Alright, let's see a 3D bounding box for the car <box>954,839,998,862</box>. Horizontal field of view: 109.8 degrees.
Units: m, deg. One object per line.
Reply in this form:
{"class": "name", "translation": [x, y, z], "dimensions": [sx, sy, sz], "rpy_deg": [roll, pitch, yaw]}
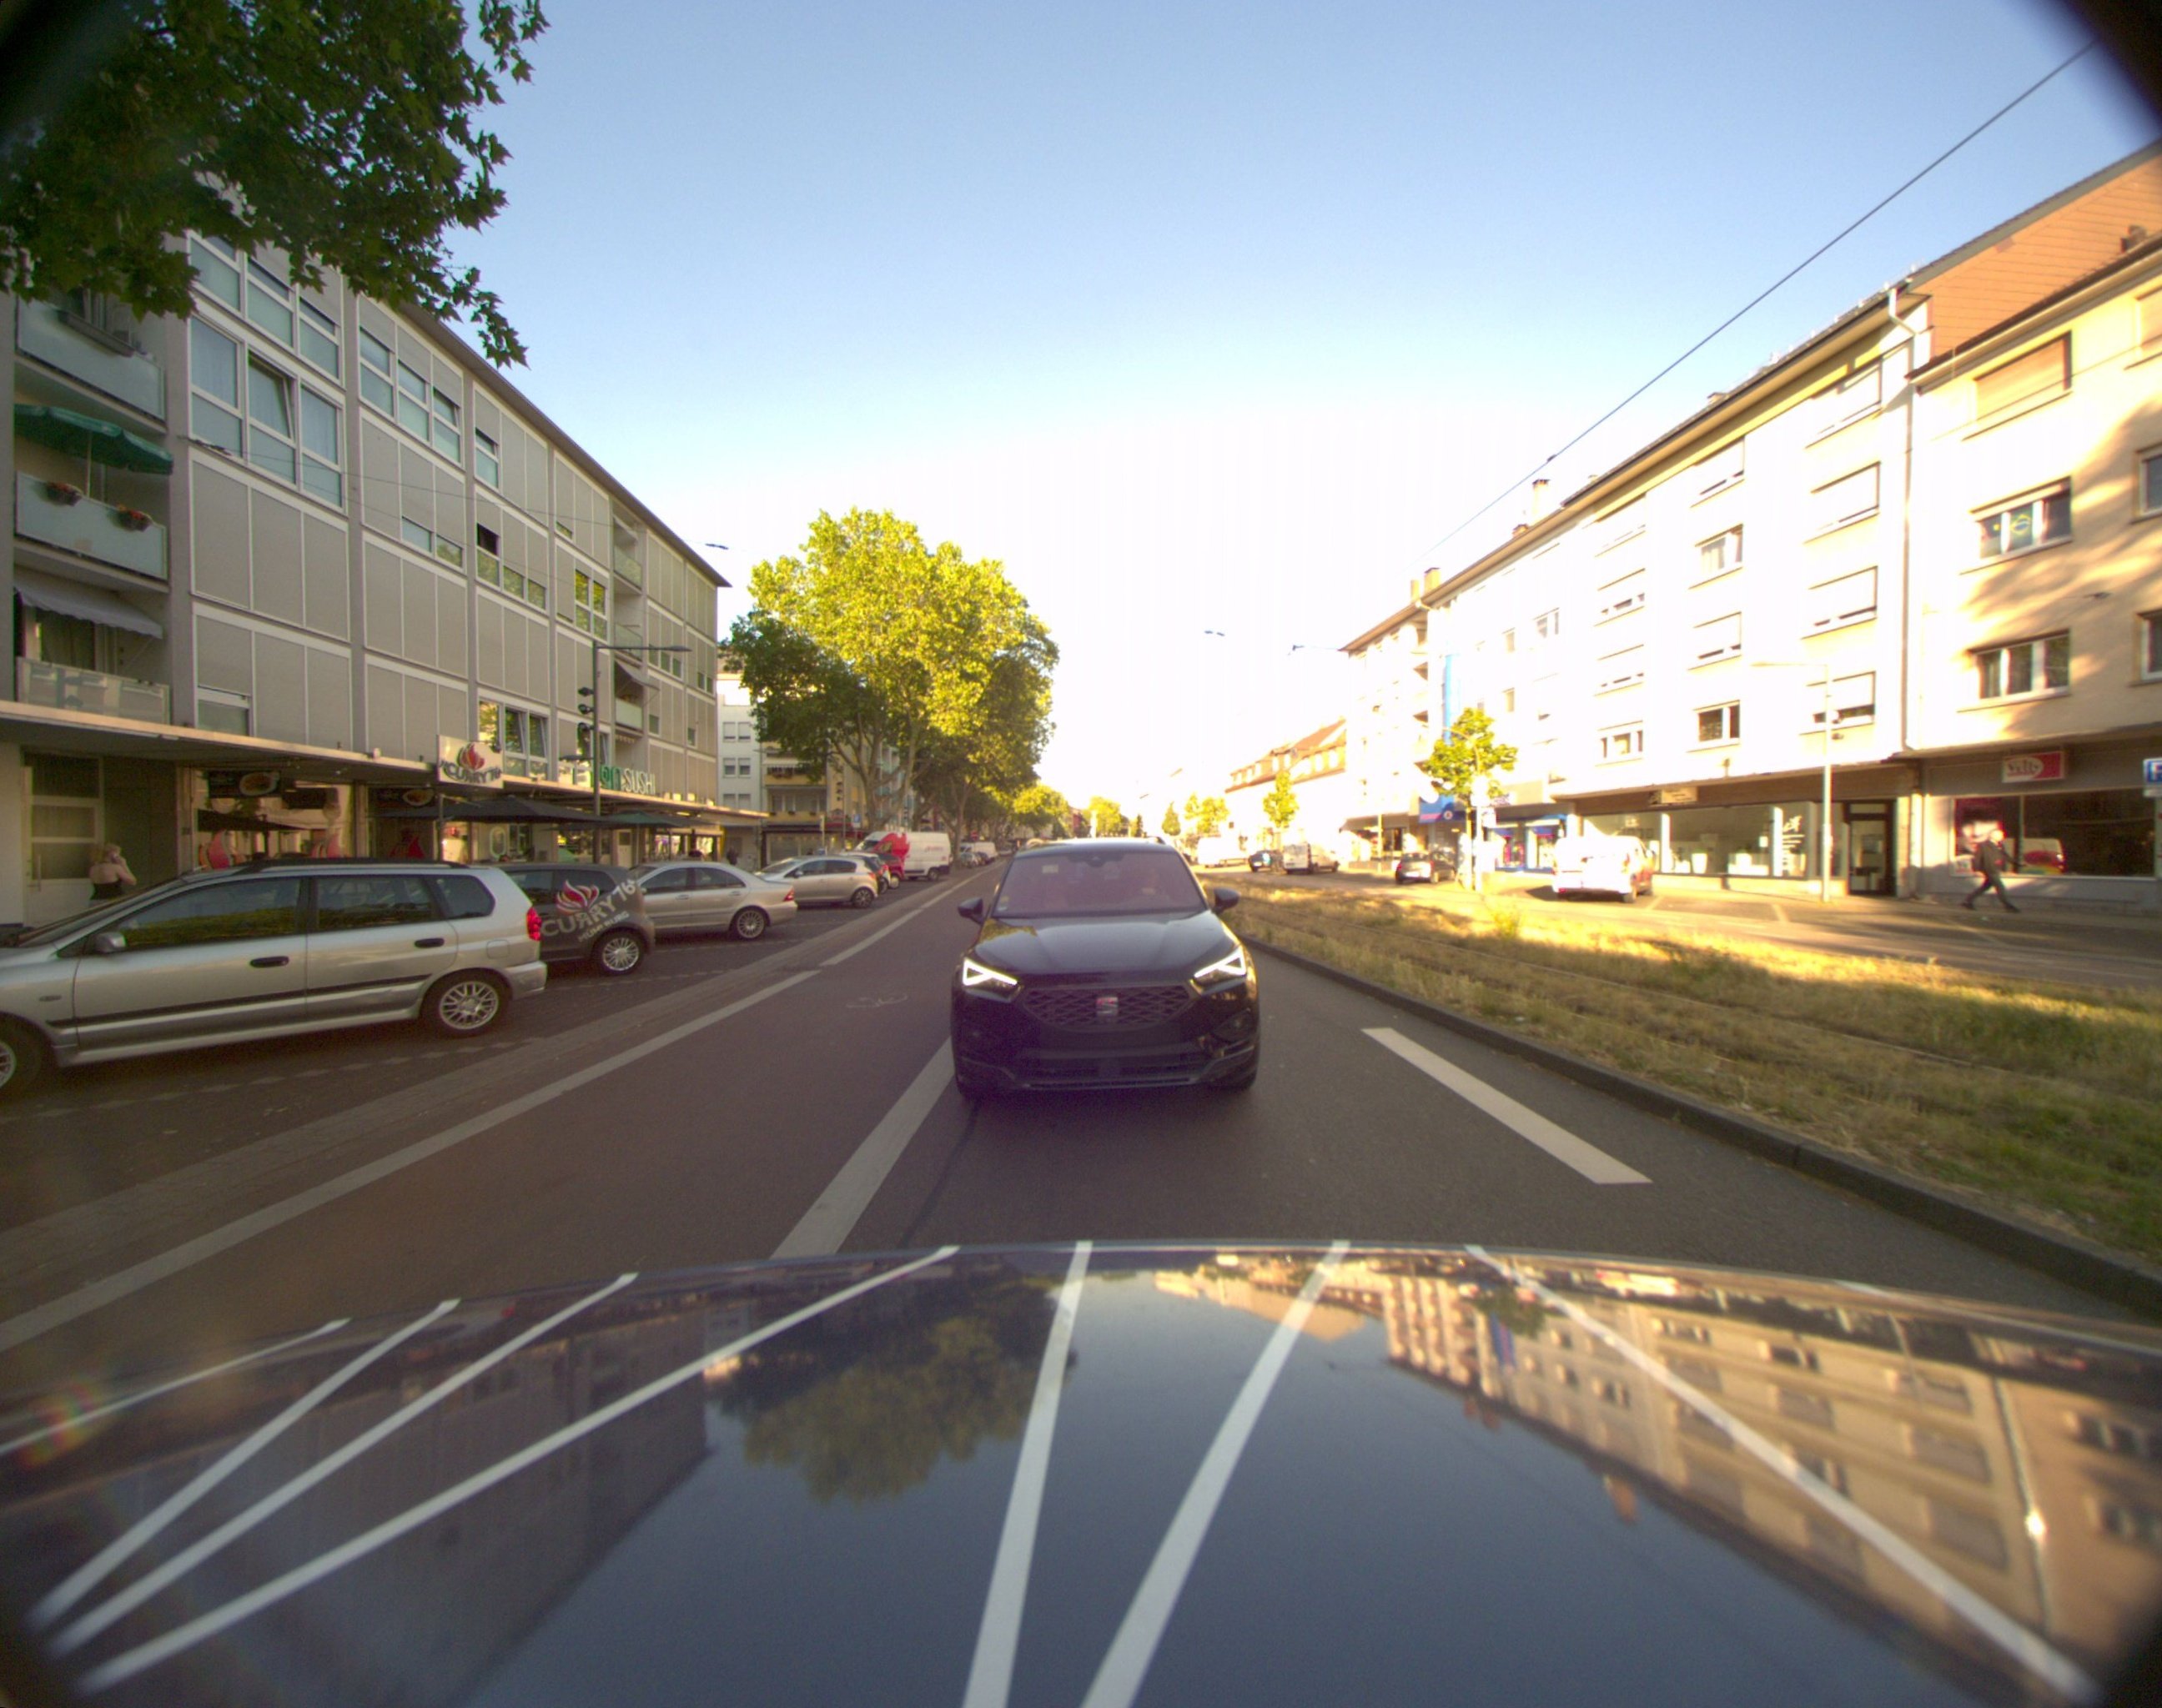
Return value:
{"class": "car", "translation": [-11.679, -0.421, 85.047], "dimensions": [1.973, 2.454, 4.605], "rpy_deg": [1, 1, 44]}

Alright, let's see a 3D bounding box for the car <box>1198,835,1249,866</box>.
{"class": "car", "translation": [12.949, -0.365, 68.661], "dimensions": [1.922, 2.599, 6.601], "rpy_deg": [-1, 1, 34]}

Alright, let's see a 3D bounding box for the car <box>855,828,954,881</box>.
{"class": "car", "translation": [-8.730, 0.033, 37.849], "dimensions": [4.606, 2.479, 1.672], "rpy_deg": [0, 0, -44]}

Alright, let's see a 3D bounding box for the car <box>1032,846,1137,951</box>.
{"class": "car", "translation": [0.037, 0.705, 14.394], "dimensions": [1.646, 1.646, 3.999], "rpy_deg": [-2, 1, -1]}

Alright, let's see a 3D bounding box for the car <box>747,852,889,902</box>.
{"class": "car", "translation": [-8.310, 0.722, 24.138], "dimensions": [3.949, 1.420, 1.672], "rpy_deg": [1, 1, -34]}

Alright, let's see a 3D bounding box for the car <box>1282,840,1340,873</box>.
{"class": "car", "translation": [14.541, 0.109, 47.850], "dimensions": [1.853, 1.927, 4.513], "rpy_deg": [-1, 1, 40]}

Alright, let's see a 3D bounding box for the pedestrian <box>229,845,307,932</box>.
{"class": "pedestrian", "translation": [-15.125, 0.617, 14.157], "dimensions": [0.583, 1.573, 0.771], "rpy_deg": [0, 1, 2]}

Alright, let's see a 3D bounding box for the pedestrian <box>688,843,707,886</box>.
{"class": "pedestrian", "translation": [-15.648, 0.421, 31.032], "dimensions": [0.545, 1.710, 0.457], "rpy_deg": [0, 1, -4]}

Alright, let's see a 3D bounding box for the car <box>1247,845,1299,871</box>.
{"class": "car", "translation": [13.794, 0.241, 54.521], "dimensions": [3.922, 1.704, 1.853], "rpy_deg": [-2, 1, -45]}

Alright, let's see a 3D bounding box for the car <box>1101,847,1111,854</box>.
{"class": "car", "translation": [5.174, -0.742, 156.436], "dimensions": [1.846, 1.571, 4.449], "rpy_deg": [0, 1, -1]}

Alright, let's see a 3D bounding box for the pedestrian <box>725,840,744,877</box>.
{"class": "pedestrian", "translation": [-18.766, 0.230, 41.130], "dimensions": [0.748, 2.002, 0.559], "rpy_deg": [0, 1, -4]}

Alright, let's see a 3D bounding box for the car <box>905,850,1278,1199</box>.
{"class": "car", "translation": [0.077, 0.840, 5.763], "dimensions": [1.785, 1.639, 3.999], "rpy_deg": [-2, 1, 1]}

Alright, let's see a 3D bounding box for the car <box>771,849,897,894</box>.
{"class": "car", "translation": [-8.845, 0.637, 27.290], "dimensions": [3.948, 1.421, 1.672], "rpy_deg": [2, 2, -32]}

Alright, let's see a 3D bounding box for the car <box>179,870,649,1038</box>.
{"class": "car", "translation": [-7.593, 0.961, 9.015], "dimensions": [1.672, 1.420, 3.950], "rpy_deg": [2, 1, 38]}

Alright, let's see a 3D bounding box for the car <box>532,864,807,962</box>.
{"class": "car", "translation": [-7.103, 0.919, 13.415], "dimensions": [1.592, 1.393, 3.950], "rpy_deg": [2, 1, 41]}

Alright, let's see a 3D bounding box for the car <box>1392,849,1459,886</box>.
{"class": "car", "translation": [15.413, 0.565, 33.909], "dimensions": [1.731, 1.489, 4.008], "rpy_deg": [-1, 1, 40]}

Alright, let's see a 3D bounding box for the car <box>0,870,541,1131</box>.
{"class": "car", "translation": [-6.885, 0.956, 5.971], "dimensions": [1.672, 1.533, 3.993], "rpy_deg": [2, 1, 38]}

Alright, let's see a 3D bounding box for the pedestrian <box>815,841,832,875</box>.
{"class": "pedestrian", "translation": [-15.212, 0.226, 44.895], "dimensions": [0.748, 2.002, 0.764], "rpy_deg": [0, 1, -4]}

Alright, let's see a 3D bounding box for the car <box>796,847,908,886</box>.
{"class": "car", "translation": [-9.183, 0.499, 30.535], "dimensions": [3.948, 1.421, 1.672], "rpy_deg": [1, 2, -31]}

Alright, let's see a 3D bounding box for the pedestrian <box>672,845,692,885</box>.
{"class": "pedestrian", "translation": [-16.264, 0.449, 30.986], "dimensions": [0.537, 1.630, 0.478], "rpy_deg": [0, 1, -4]}

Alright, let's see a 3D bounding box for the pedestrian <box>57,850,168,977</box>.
{"class": "pedestrian", "translation": [-12.392, 0.739, 9.744], "dimensions": [0.561, 1.567, 0.642], "rpy_deg": [0, 1, -5]}

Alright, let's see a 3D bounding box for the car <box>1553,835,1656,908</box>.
{"class": "car", "translation": [15.617, 0.451, 22.575], "dimensions": [1.853, 1.888, 4.007], "rpy_deg": [-1, 2, 44]}

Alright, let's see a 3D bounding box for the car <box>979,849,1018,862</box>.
{"class": "car", "translation": [-8.950, 0.159, 82.499], "dimensions": [1.778, 1.326, 3.943], "rpy_deg": [1, 1, 44]}

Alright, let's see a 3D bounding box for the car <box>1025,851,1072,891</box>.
{"class": "car", "translation": [-1.264, 0.642, 30.999], "dimensions": [1.729, 1.443, 4.227], "rpy_deg": [-2, 1, -1]}

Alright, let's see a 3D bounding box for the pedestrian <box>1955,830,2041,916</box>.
{"class": "pedestrian", "translation": [19.985, 0.401, 16.580], "dimensions": [0.757, 1.817, 0.917], "rpy_deg": [-1, 1, 1]}

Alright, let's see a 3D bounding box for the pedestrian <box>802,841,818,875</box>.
{"class": "pedestrian", "translation": [-16.041, 0.232, 44.920], "dimensions": [0.748, 1.964, 0.575], "rpy_deg": [0, 1, -4]}

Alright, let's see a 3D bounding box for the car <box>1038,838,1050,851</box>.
{"class": "car", "translation": [-8.973, -2.203, 184.902], "dimensions": [2.660, 2.989, 7.131], "rpy_deg": [-2, 1, -2]}

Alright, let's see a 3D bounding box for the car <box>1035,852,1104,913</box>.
{"class": "car", "translation": [-0.312, 0.727, 21.586], "dimensions": [1.729, 1.467, 3.999], "rpy_deg": [-2, 1, -1]}

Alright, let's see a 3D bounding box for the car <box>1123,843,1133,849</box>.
{"class": "car", "translation": [15.658, -2.671, 253.311], "dimensions": [2.496, 1.871, 5.278], "rpy_deg": [0, 1, 11]}

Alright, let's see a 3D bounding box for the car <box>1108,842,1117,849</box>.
{"class": "car", "translation": [8.140, -2.192, 195.524], "dimensions": [1.999, 1.783, 3.998], "rpy_deg": [0, 1, -4]}

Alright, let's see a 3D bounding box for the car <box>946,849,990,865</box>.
{"class": "car", "translation": [-10.818, 0.273, 72.936], "dimensions": [1.778, 1.396, 3.943], "rpy_deg": [1, 1, 44]}

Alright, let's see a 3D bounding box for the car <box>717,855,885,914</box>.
{"class": "car", "translation": [-7.491, 0.781, 20.563], "dimensions": [3.950, 1.420, 1.555], "rpy_deg": [1, 1, -45]}
